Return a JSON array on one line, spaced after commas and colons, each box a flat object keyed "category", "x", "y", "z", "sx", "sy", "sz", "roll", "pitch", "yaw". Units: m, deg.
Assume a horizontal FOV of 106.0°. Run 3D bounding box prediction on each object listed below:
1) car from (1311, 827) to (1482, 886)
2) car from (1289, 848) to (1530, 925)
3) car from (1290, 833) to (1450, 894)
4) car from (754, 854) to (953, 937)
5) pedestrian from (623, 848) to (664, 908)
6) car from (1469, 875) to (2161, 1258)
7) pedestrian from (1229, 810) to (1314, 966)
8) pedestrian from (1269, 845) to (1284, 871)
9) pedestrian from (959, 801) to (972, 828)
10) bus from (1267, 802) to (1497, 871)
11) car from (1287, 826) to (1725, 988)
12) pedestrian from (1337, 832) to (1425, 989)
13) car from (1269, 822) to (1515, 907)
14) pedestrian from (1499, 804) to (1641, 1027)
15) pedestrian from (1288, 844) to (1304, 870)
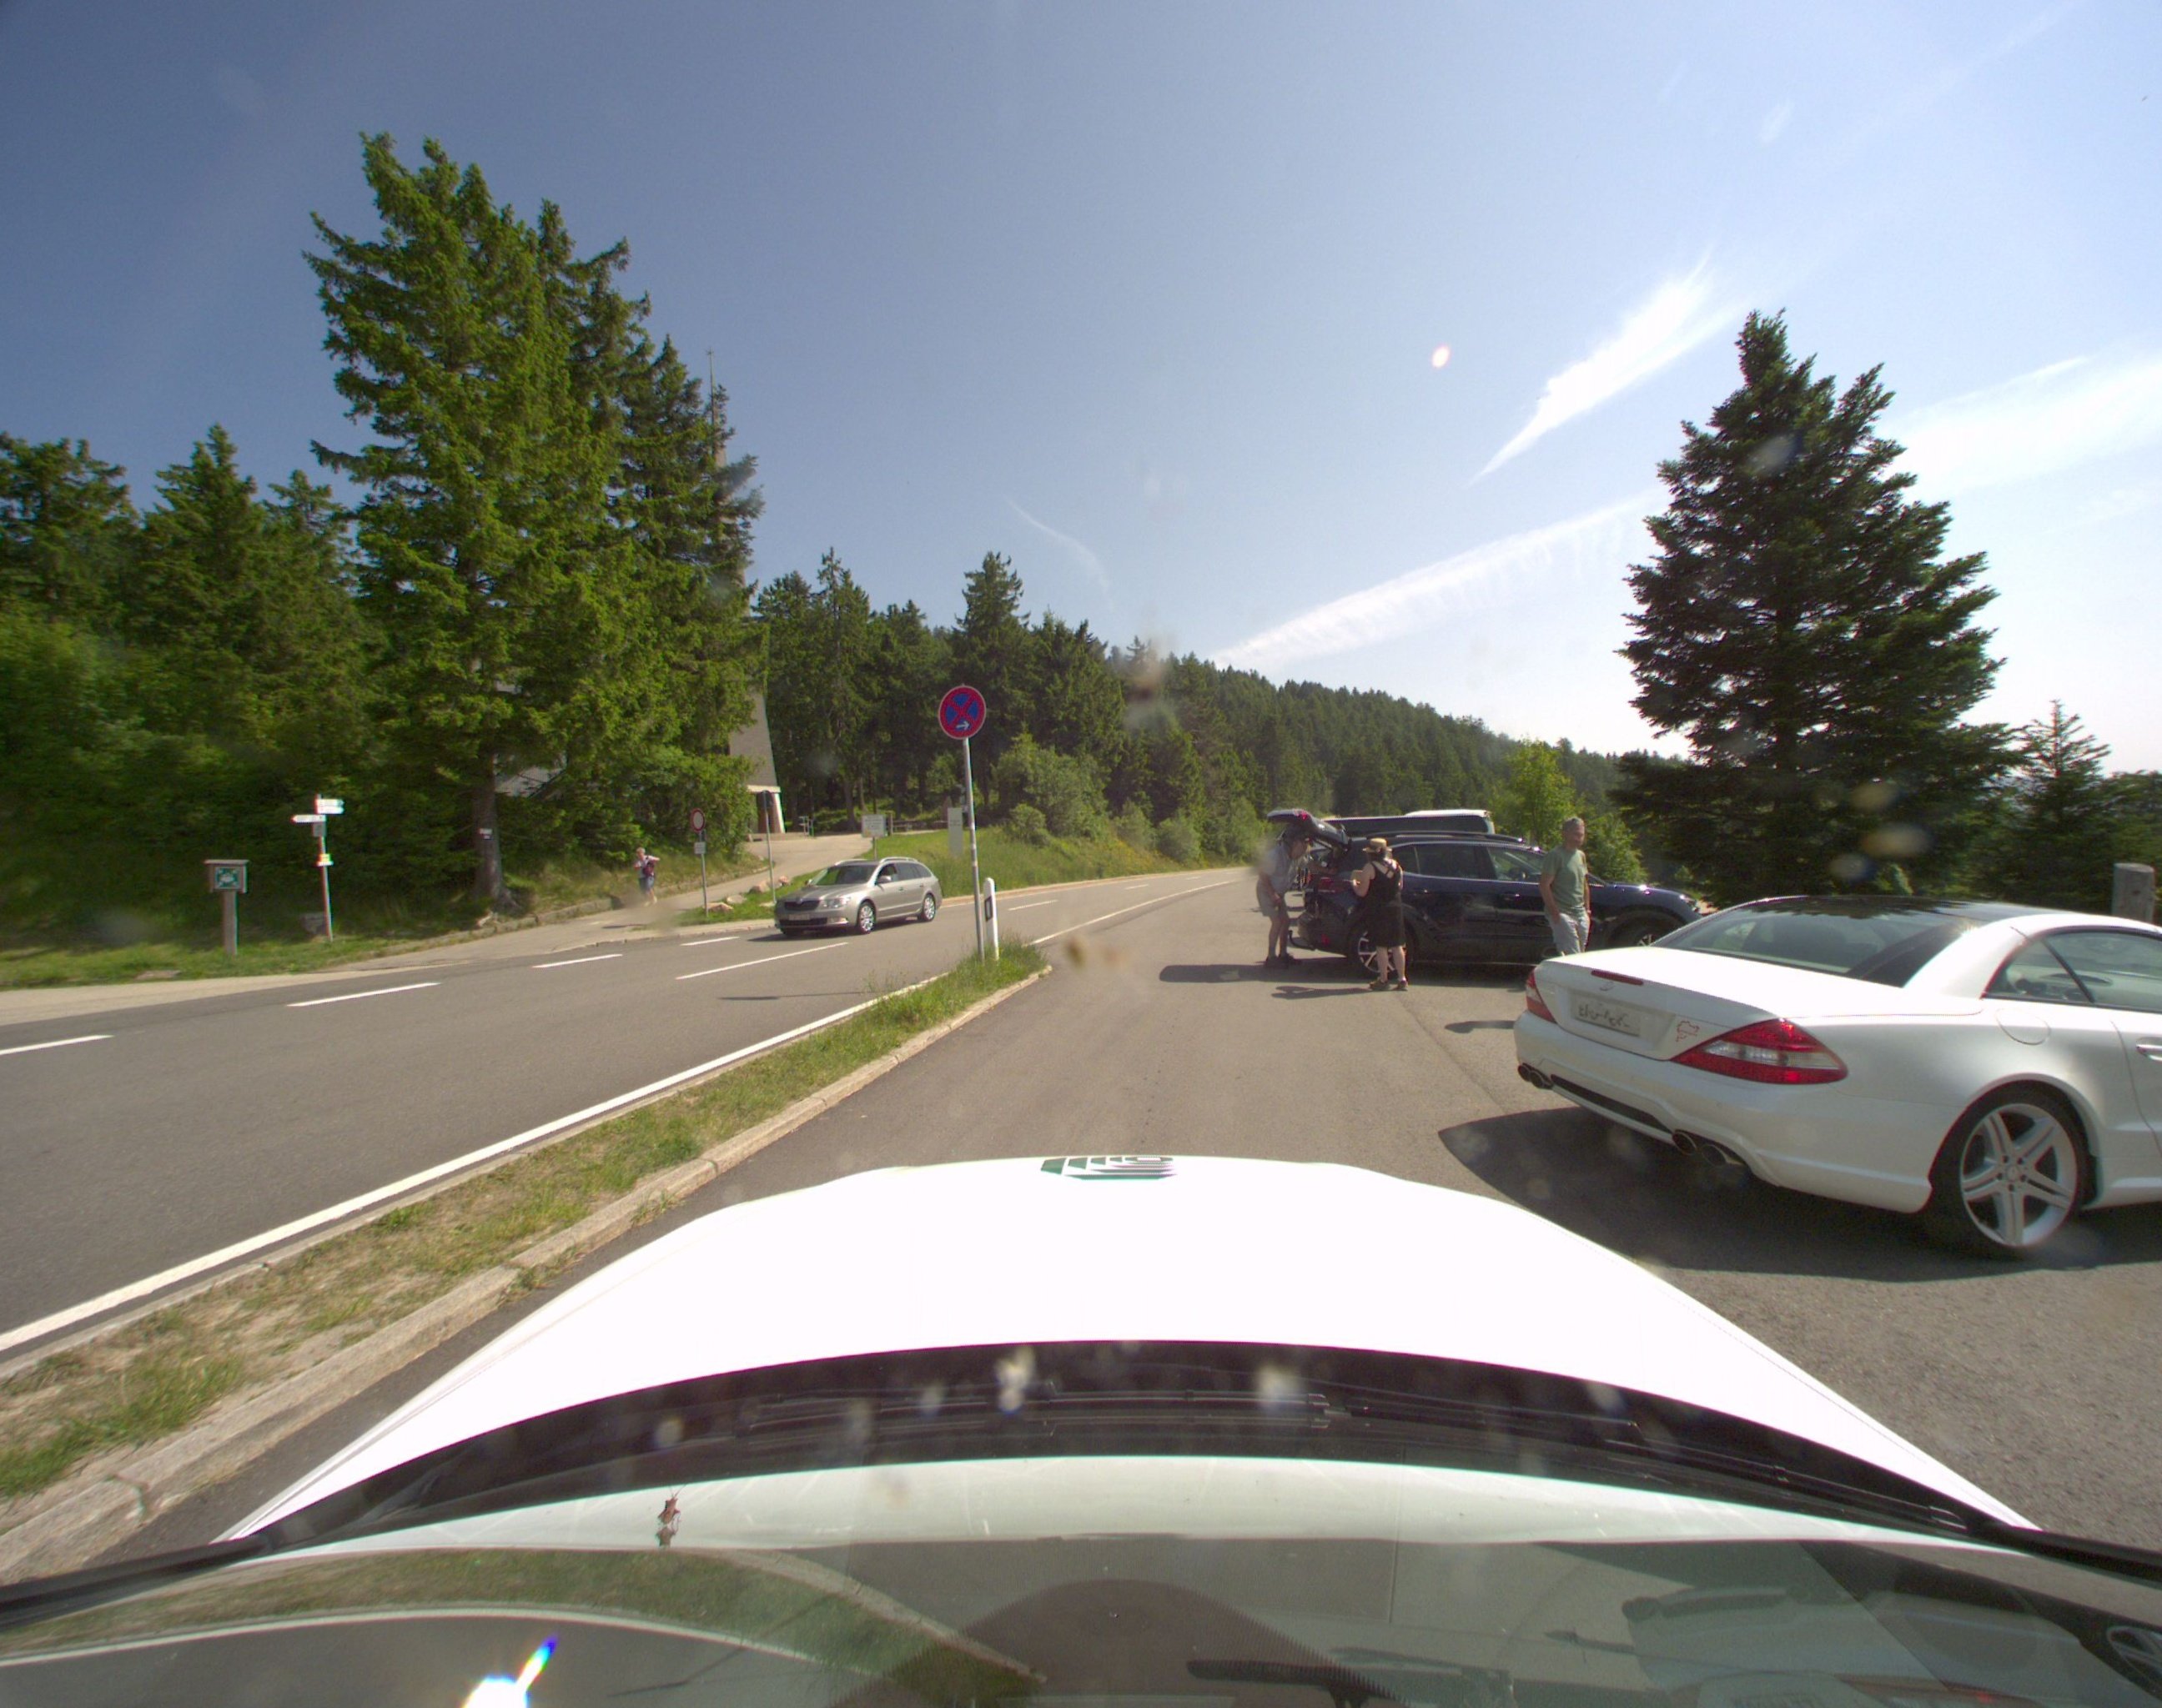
[{"category": "car", "x": 10.179, "y": 0.096, "z": 26.699, "sx": 4.995, "sy": 1.651, "sz": 2.057, "roll": -3, "pitch": 0, "yaw": 16}, {"category": "car", "x": 6.172, "y": 0.579, "z": 15.724, "sx": 4.056, "sy": 1.376, "sz": 1.707, "roll": 0, "pitch": 0, "yaw": 10}, {"category": "car", "x": 8.389, "y": 0.271, "z": 23.971, "sx": 4.211, "sy": 1.554, "sz": 1.846, "roll": -3, "pitch": 0, "yaw": 16}, {"category": "car", "x": -4.588, "y": 0.774, "z": 17.325, "sx": 1.865, "sy": 1.474, "sz": 4.733, "roll": -2, "pitch": 0, "yaw": 15}, {"category": "pedestrian", "x": -12.709, "y": 0.695, "z": 23.672, "sx": 0.715, "sy": 1.681, "sz": 0.684, "roll": -3, "pitch": 0, "yaw": 9}, {"category": "car", "x": 4.505, "y": 0.802, "z": 4.070, "sx": 4.393, "sy": 1.296, "sz": 1.752, "roll": 0, "pitch": 1, "yaw": -7}, {"category": "pedestrian", "x": 2.401, "y": 0.388, "z": 10.266, "sx": 0.762, "sy": 1.870, "sz": 0.728, "roll": -3, "pitch": 3, "yaw": -44}, {"category": "pedestrian", "x": 12.257, "y": 0.226, "z": 51.010, "sx": 0.763, "sy": 1.585, "sz": 0.777, "roll": -3, "pitch": 0, "yaw": 23}, {"category": "pedestrian", "x": -8.244, "y": -2.801, "z": 58.177, "sx": 0.545, "sy": 1.878, "sz": 0.674, "roll": -3, "pitch": -1, "yaw": -41}, {"category": "bus", "x": 18.445, "y": -0.973, "z": 50.560, "sx": 12.971, "sy": 3.532, "sz": 3.062, "roll": -3, "pitch": 0, "yaw": 26}, {"category": "car", "x": 4.772, "y": 0.541, "z": 9.808, "sx": 4.316, "sy": 1.626, "sz": 1.875, "roll": 1, "pitch": 0, "yaw": 11}, {"category": "pedestrian", "x": 3.189, "y": 0.579, "z": 8.686, "sx": 0.712, "sy": 1.613, "sz": 0.536, "roll": 0, "pitch": -1, "yaw": -4}, {"category": "car", "x": 6.912, "y": 0.255, "z": 18.490, "sx": 4.909, "sy": 1.695, "sz": 1.954, "roll": -2, "pitch": 0, "yaw": 18}, {"category": "pedestrian", "x": 4.209, "y": 0.495, "z": 7.047, "sx": 0.747, "sy": 1.800, "sz": 0.732, "roll": 0, "pitch": -1, "yaw": -16}, {"category": "pedestrian", "x": 13.297, "y": 0.199, "z": 50.352, "sx": 0.763, "sy": 1.585, "sz": 0.777, "roll": -3, "pitch": 0, "yaw": 23}]
